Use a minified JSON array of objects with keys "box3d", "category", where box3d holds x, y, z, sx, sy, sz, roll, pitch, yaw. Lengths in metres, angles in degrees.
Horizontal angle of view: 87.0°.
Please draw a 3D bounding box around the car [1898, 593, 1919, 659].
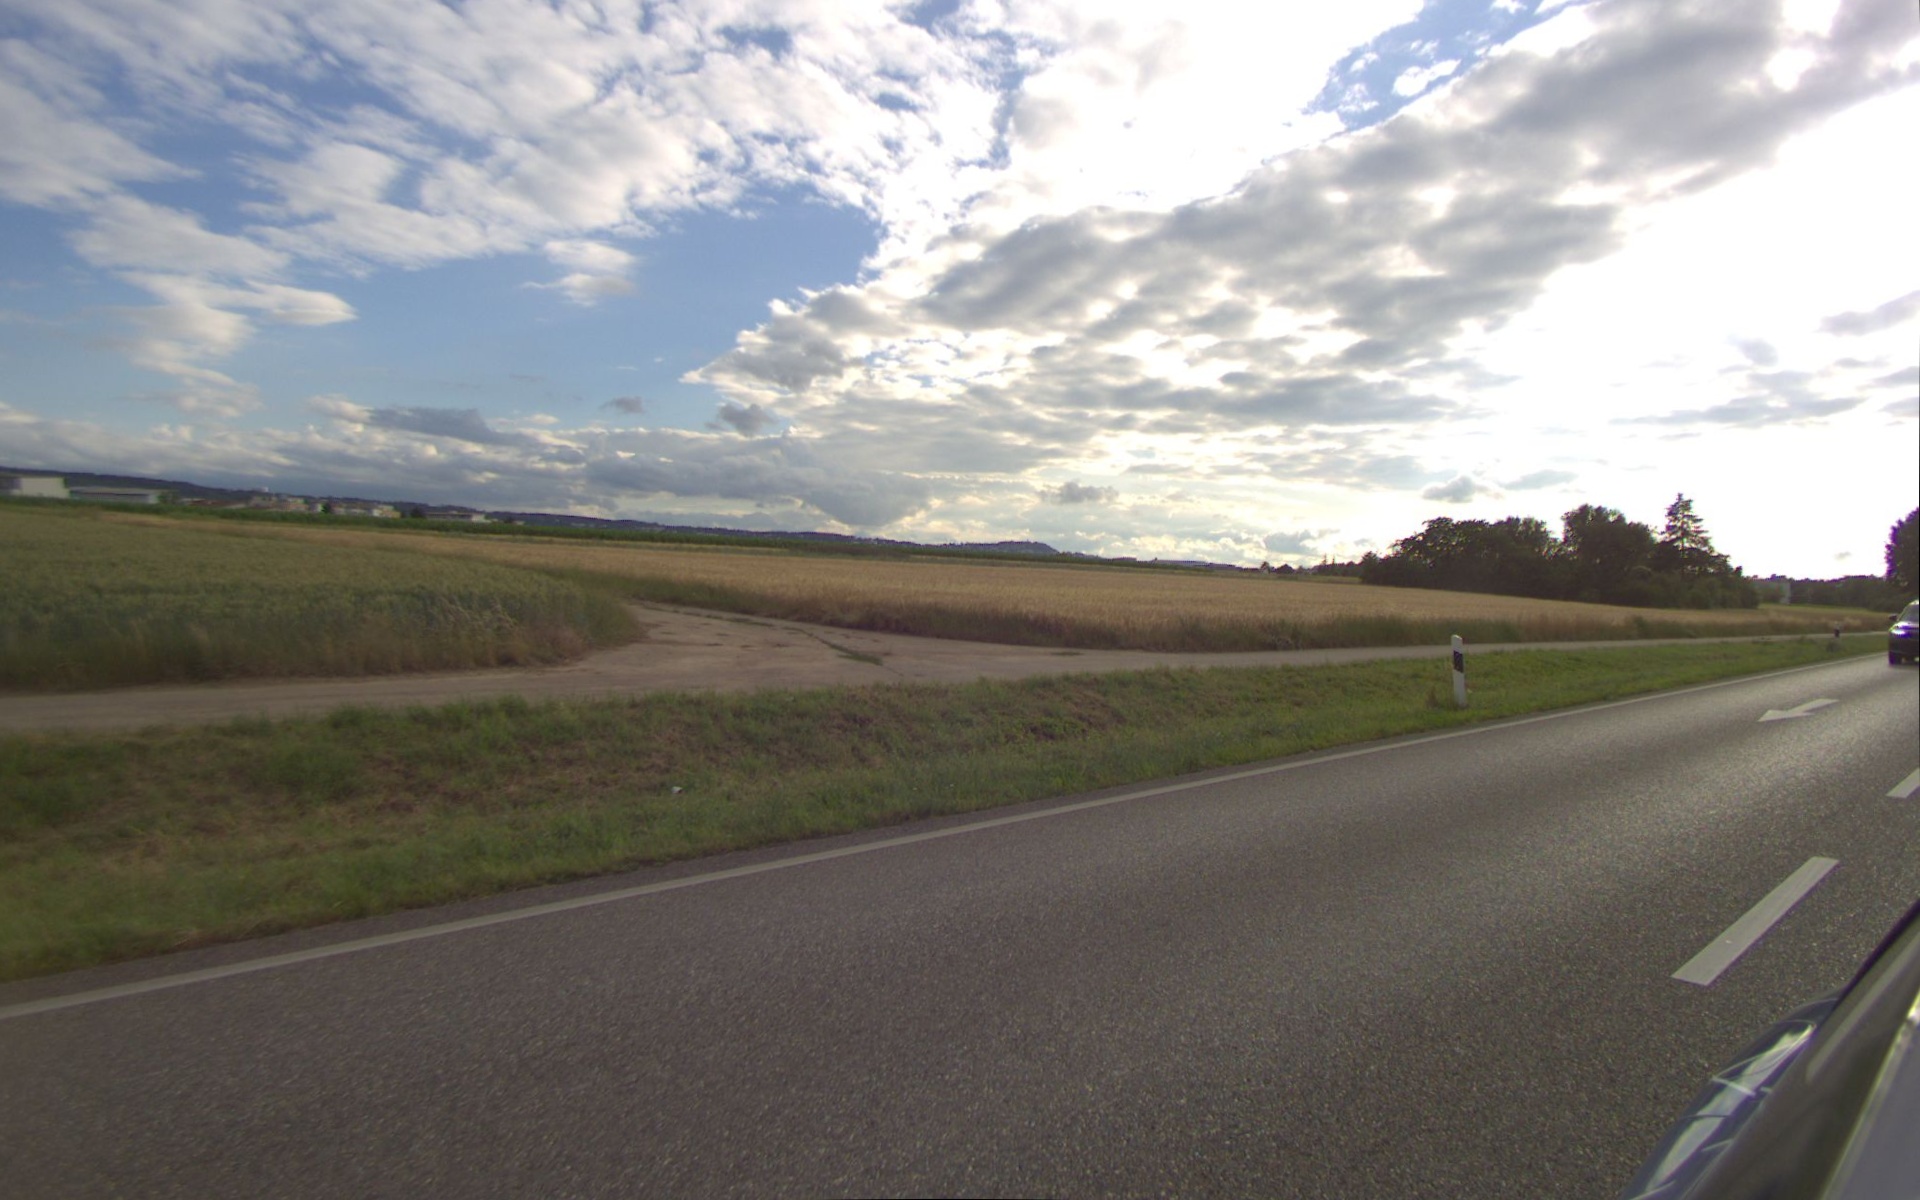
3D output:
[{"box3d":[26.071,0.685,26.441,3.929,1.666,1.862,1,0,-41],"category":"car"}]
